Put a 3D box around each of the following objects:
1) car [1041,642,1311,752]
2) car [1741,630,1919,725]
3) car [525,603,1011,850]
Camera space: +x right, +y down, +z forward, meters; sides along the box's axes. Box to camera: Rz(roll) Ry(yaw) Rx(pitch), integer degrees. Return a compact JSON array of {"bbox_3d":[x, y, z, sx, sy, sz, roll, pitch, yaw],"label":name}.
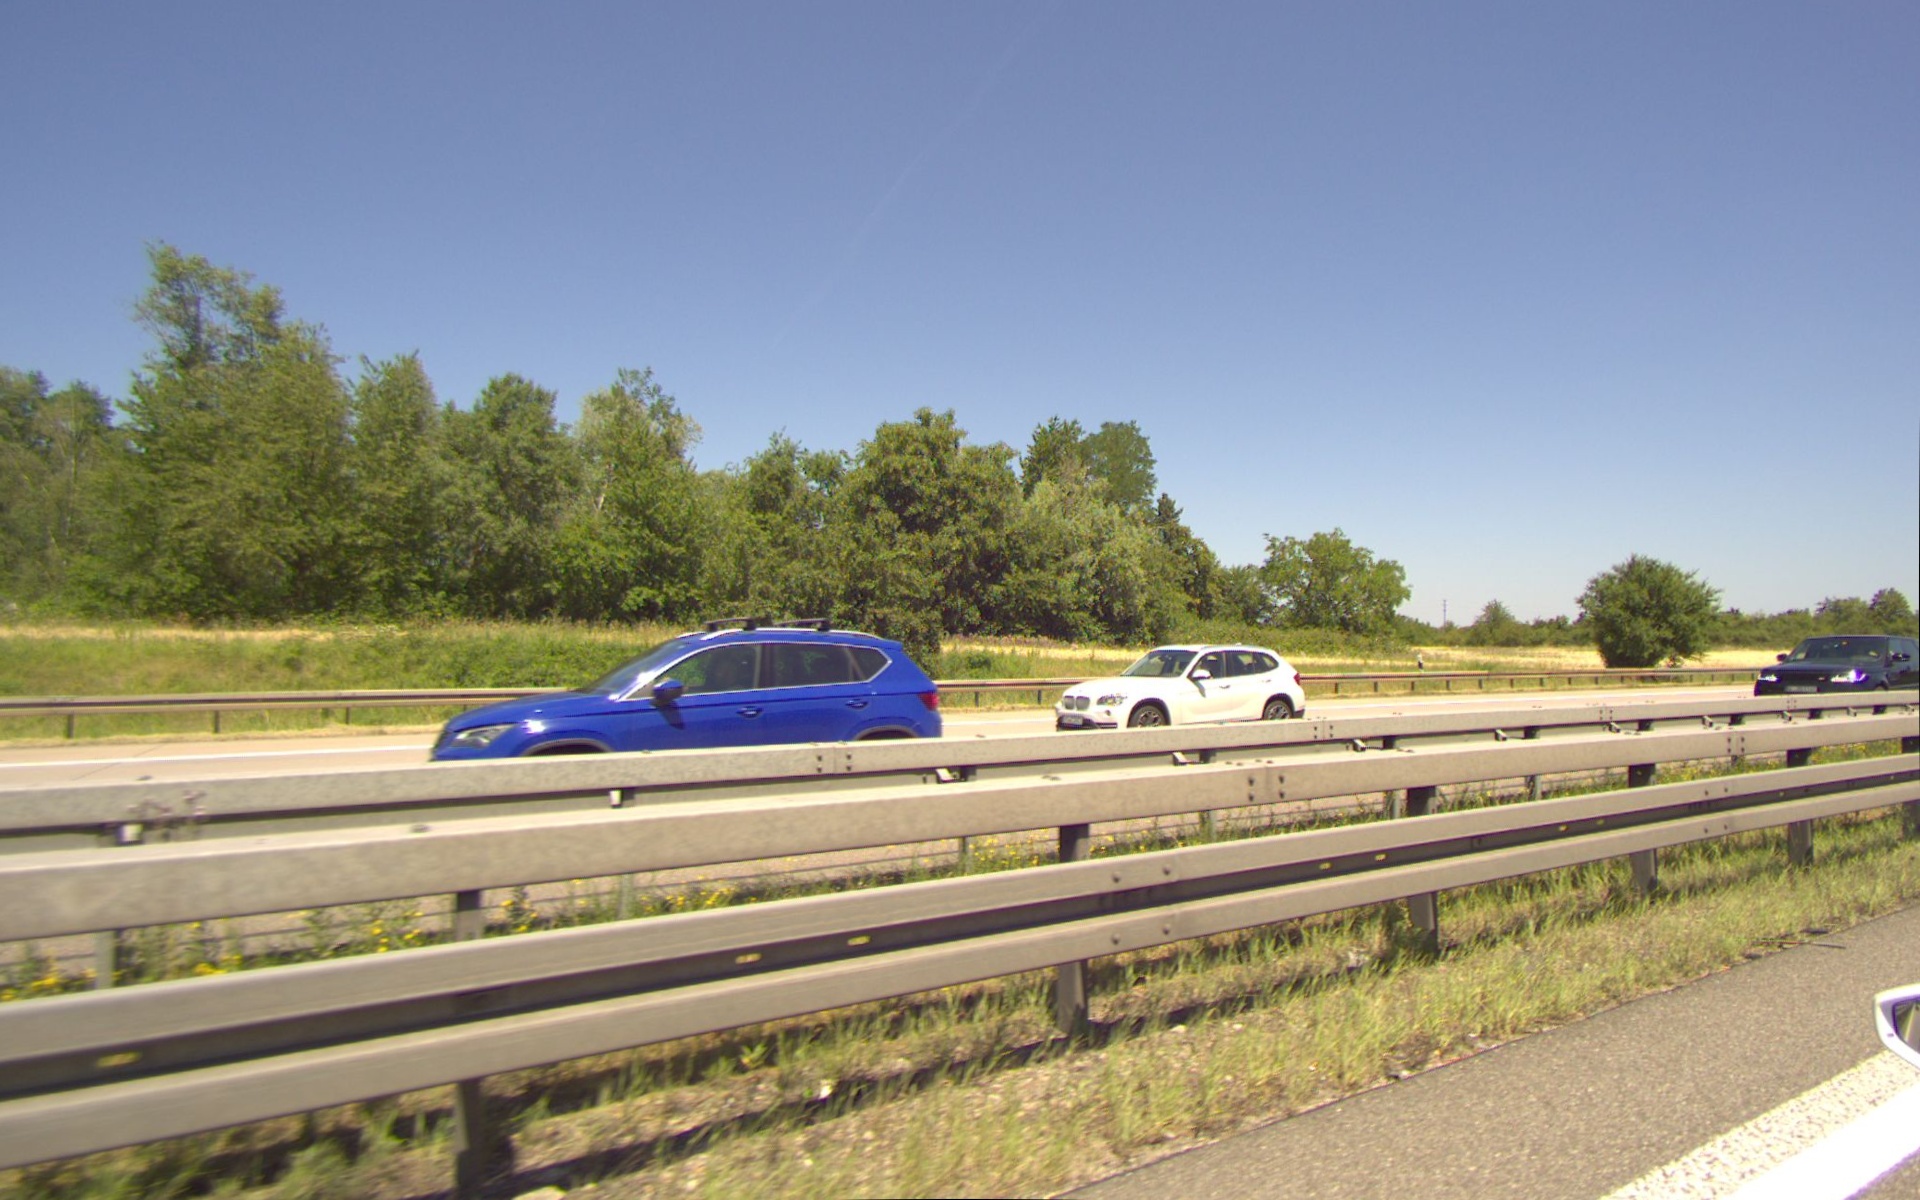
[{"bbox_3d":[3.544,1.480,16.326,4.143,1.586,1.871,2,-3,-30],"label":"car"},{"bbox_3d":[18.559,1.550,21.065,4.391,1.795,1.950,2,-2,-30],"label":"car"},{"bbox_3d":[-1.658,0.992,9.011,3.939,1.773,1.759,2,-3,-30],"label":"car"}]
